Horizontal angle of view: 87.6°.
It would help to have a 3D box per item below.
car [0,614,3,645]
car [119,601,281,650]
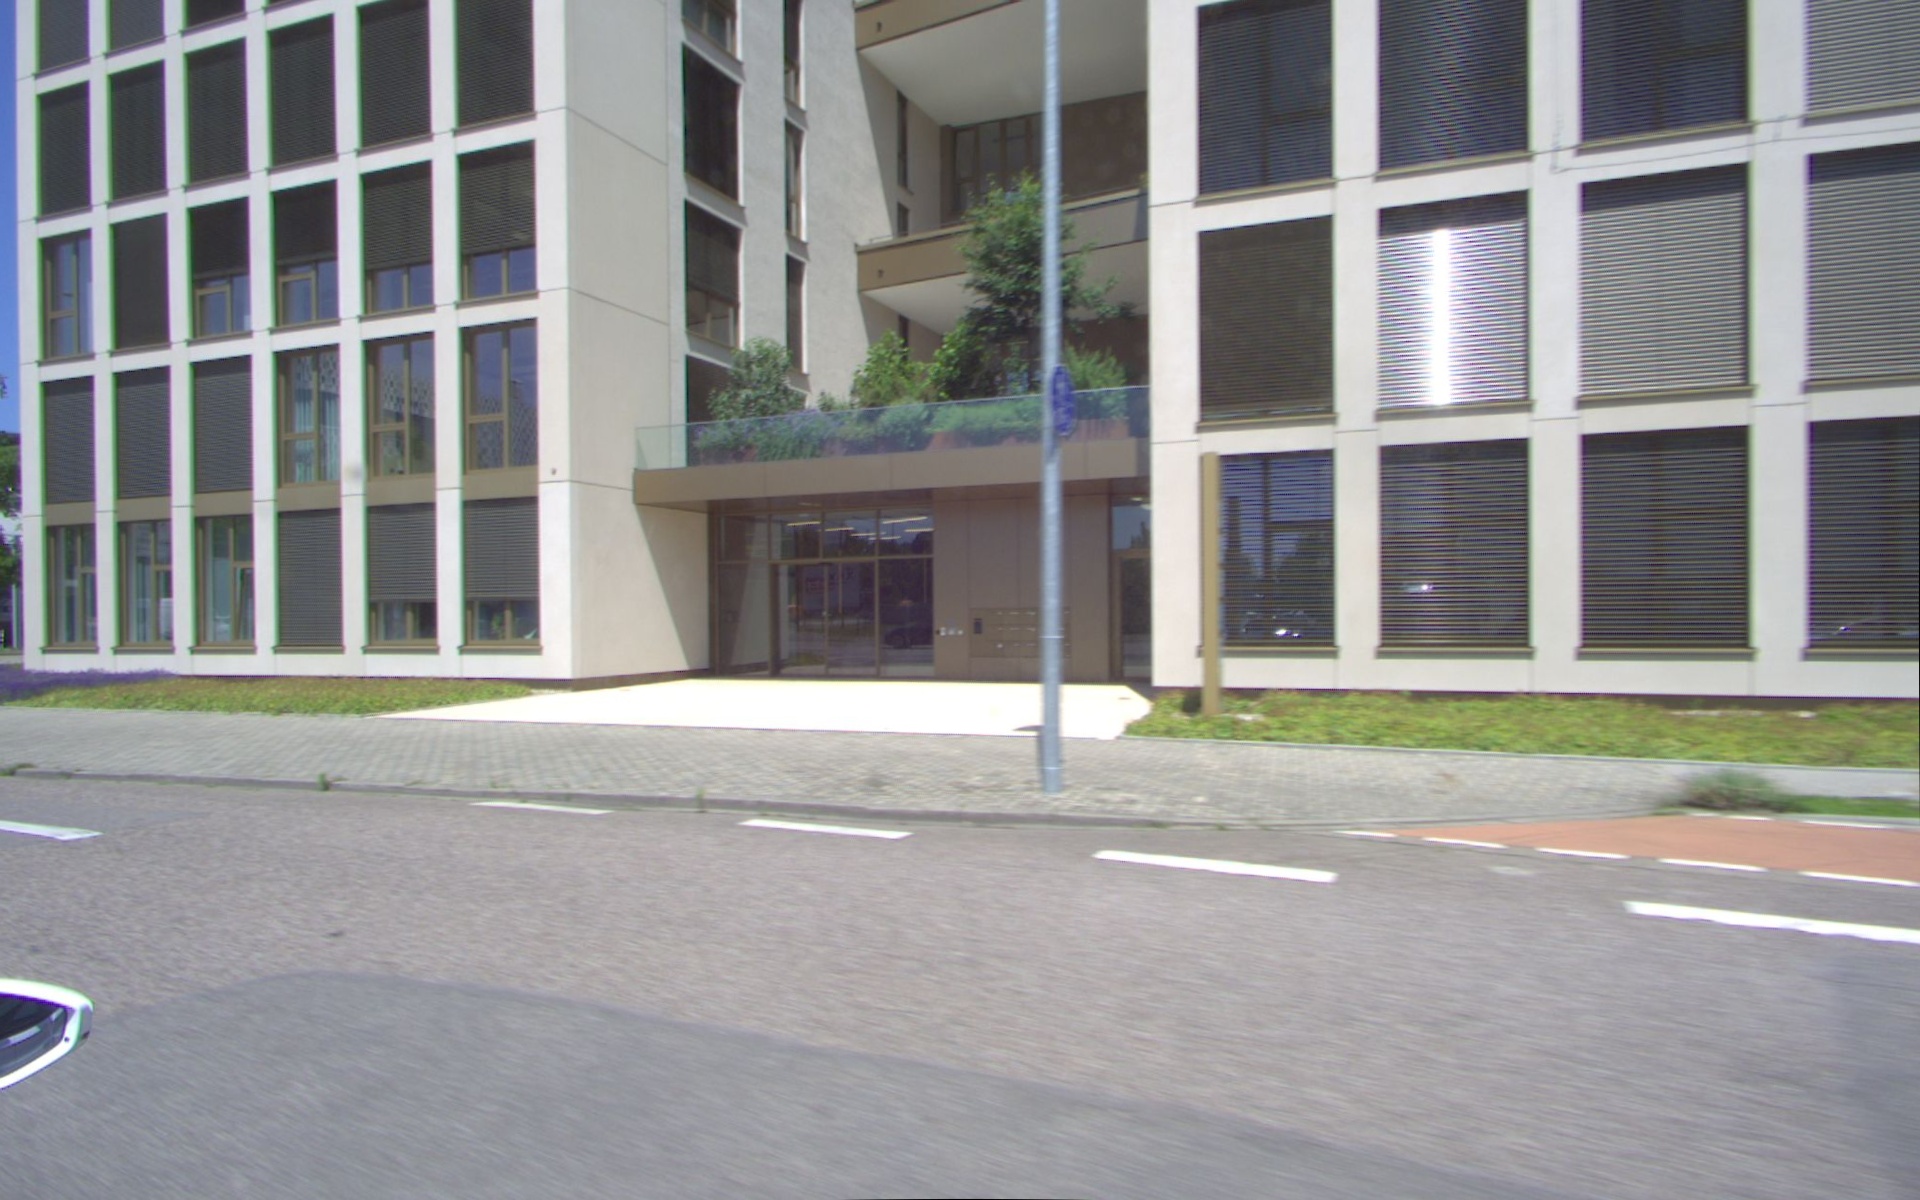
[{"bbox_3d":[-52.932,1.551,52.709,4.394,1.661,1.830,0,0,18],"label":"car"},{"bbox_3d":[-30.148,1.005,39.922,4.827,1.839,1.699,0,0,-24],"label":"car"}]
